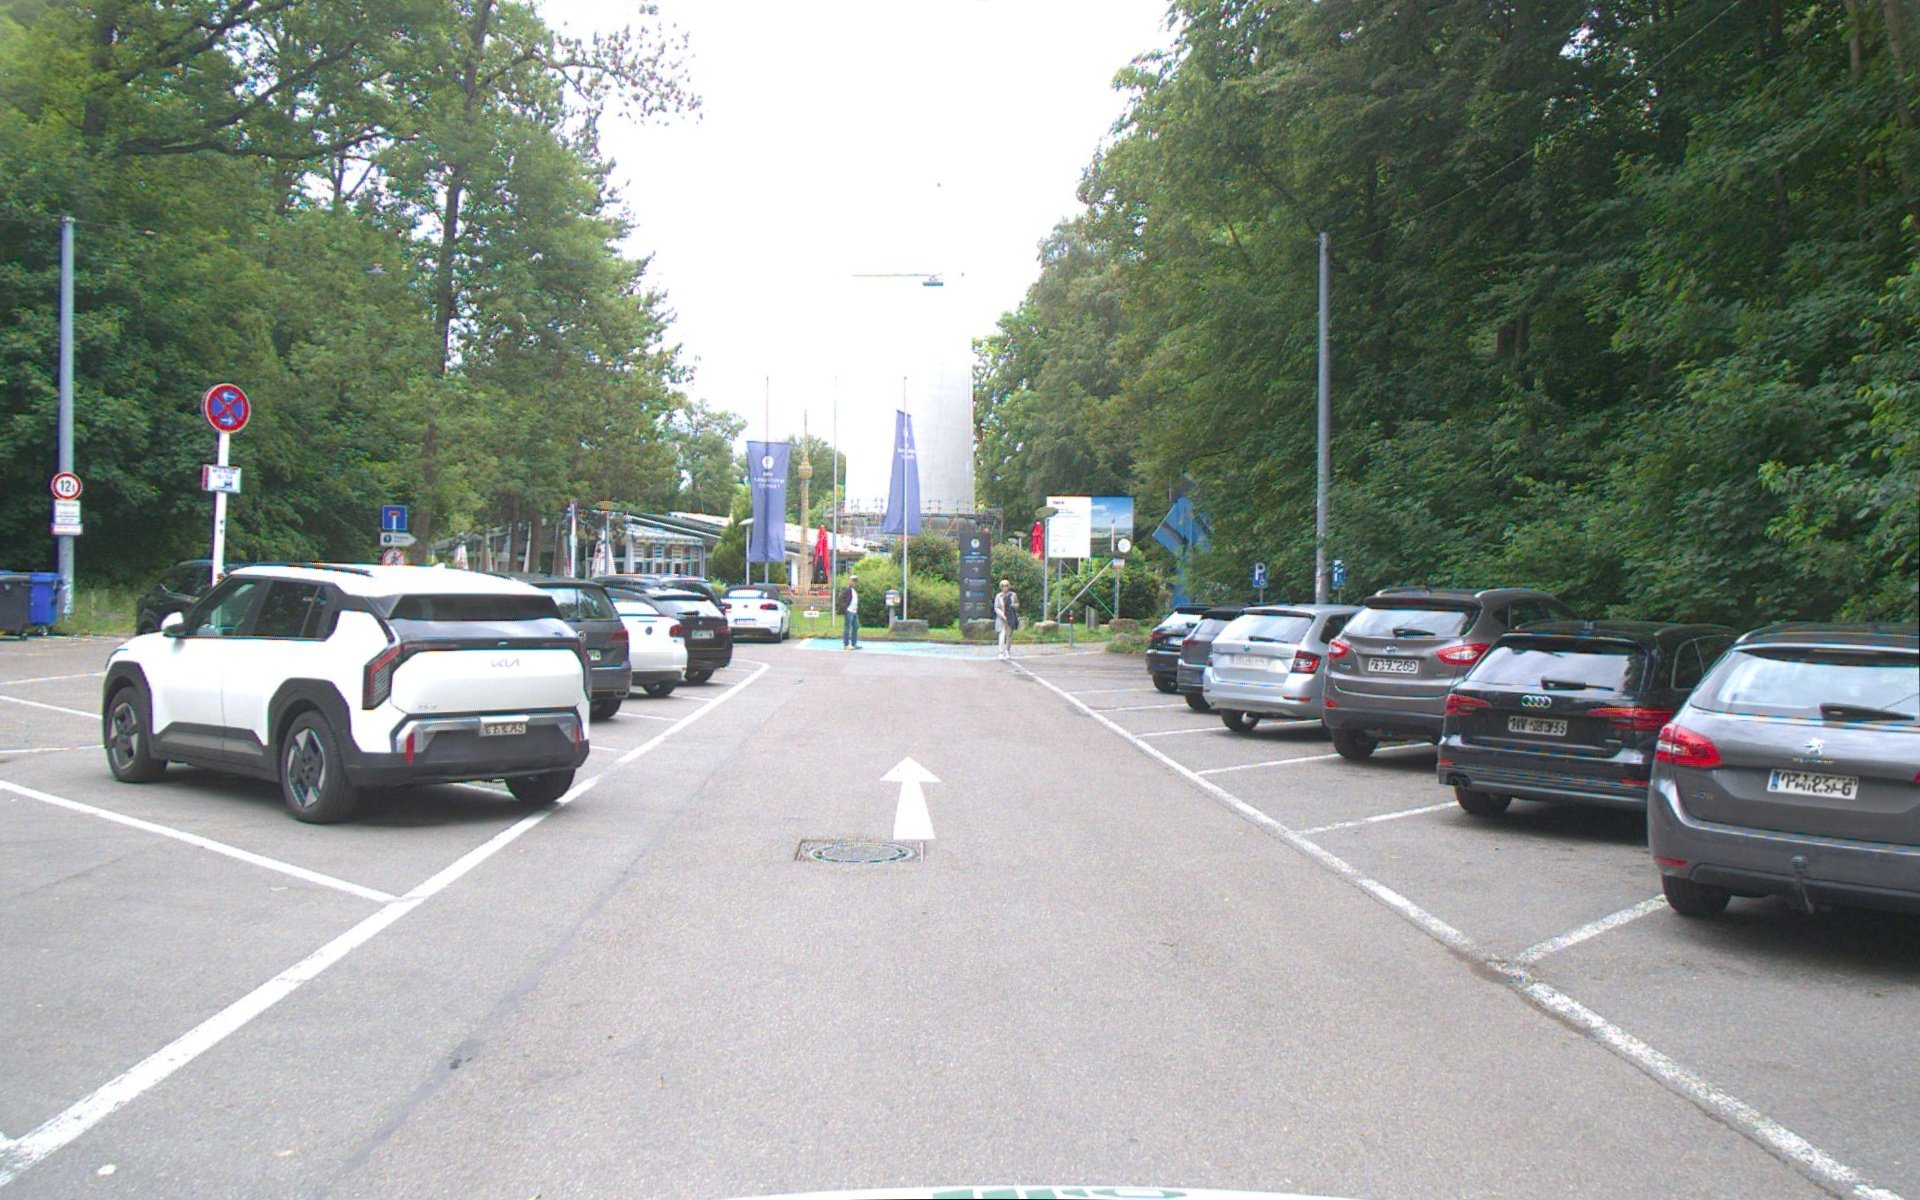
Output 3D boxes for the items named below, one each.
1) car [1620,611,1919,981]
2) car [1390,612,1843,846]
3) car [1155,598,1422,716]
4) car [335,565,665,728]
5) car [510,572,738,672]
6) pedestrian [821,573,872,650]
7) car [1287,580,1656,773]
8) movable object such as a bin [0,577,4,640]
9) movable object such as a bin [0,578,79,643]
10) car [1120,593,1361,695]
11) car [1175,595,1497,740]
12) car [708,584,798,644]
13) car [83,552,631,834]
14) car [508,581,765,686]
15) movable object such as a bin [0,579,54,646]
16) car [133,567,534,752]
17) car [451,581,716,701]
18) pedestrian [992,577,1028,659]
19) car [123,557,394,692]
[{"bbox_3d":[5.079,0.816,8.498,1.773,1.483,4.160,1,0,43],"label":"car"},{"bbox_3d":[5.092,0.814,12.486,1.929,1.401,4.239,1,0,40],"label":"car"},{"bbox_3d":[4.632,0.736,23.002,1.876,1.447,3.975,1,0,42],"label":"car"},{"bbox_3d":[-5.283,0.441,18.766,3.907,1.614,1.836,2,1,43],"label":"car"},{"bbox_3d":[-6.108,0.348,29.820,4.309,1.637,1.819,1,0,42],"label":"car"},{"bbox_3d":[-2.646,0.269,38.637,0.877,1.755,0.763,1,0,30],"label":"pedestrian"},{"bbox_3d":[5.246,0.669,16.632,1.931,1.665,4.236,1,0,43],"label":"car"},{"bbox_3d":[-20.785,0.178,34.444,1.102,1.343,1.238,1,0,-7],"label":"movable object such as a bin"},{"bbox_3d":[-19.755,0.223,35.511,1.232,1.348,1.142,1,0,-15],"label":"movable object such as a bin"},{"bbox_3d":[4.619,0.682,26.851,1.866,1.488,4.177,2,0,43],"label":"car"},{"bbox_3d":[4.501,0.710,19.486,3.968,1.492,1.806,0,1,-43],"label":"car"},{"bbox_3d":[-5.291,0.333,42.755,1.854,1.453,3.999,1,1,-1],"label":"car"},{"bbox_3d":[-4.329,0.500,11.585,4.113,1.624,1.837,1,1,41],"label":"car"},{"bbox_3d":[-5.110,0.476,25.844,4.201,1.468,1.750,1,0,41],"label":"car"},{"bbox_3d":[-18.899,0.240,33.242,1.157,1.330,1.299,1,0,-32],"label":"movable object such as a bin"},{"bbox_3d":[-6.216,0.489,16.278,3.920,1.581,1.866,1,1,36],"label":"car"},{"bbox_3d":[-5.238,0.510,22.790,3.780,1.468,1.761,1,0,43],"label":"car"},{"bbox_3d":[1.087,0.386,36.042,0.746,1.755,0.897,1,0,1],"label":"pedestrian"},{"bbox_3d":[-9.688,0.280,22.730,3.927,1.692,1.888,1,0,41],"label":"car"}]
